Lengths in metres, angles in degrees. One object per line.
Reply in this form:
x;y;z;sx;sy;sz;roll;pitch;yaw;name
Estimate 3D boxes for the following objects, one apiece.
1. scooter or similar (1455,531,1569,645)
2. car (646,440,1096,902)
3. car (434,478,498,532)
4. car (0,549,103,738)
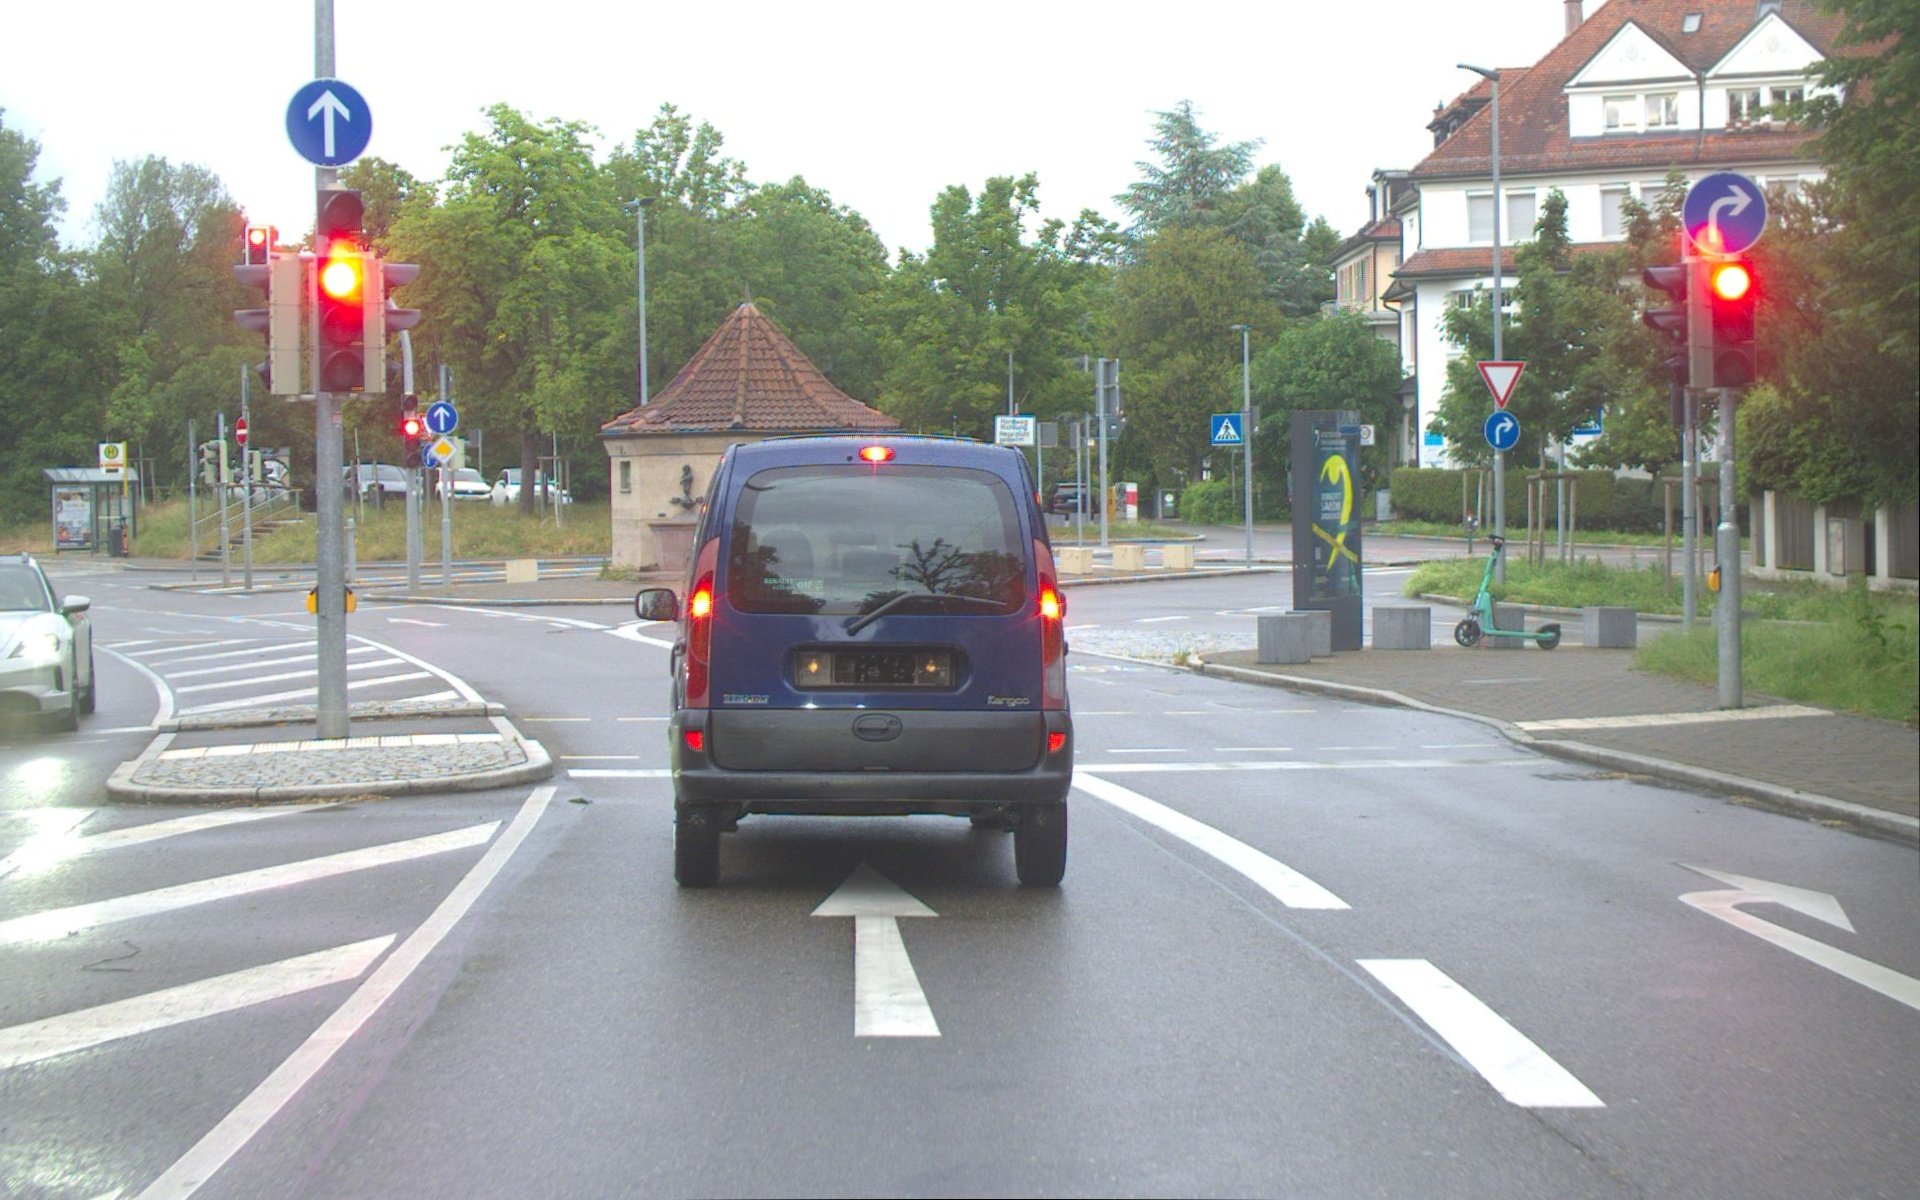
5.939;-0.131;37.018;1.149;1.214;0.406;-1;0;-2;scooter or similar
-0.469;0.218;15.278;1.731;1.780;4.001;0;2;-4;car
-17.018;-3.255;118.541;1.993;1.806;4.001;0;1;-5;car
-7.942;0.334;27.261;1.993;1.307;4.361;-4;2;-12;car
